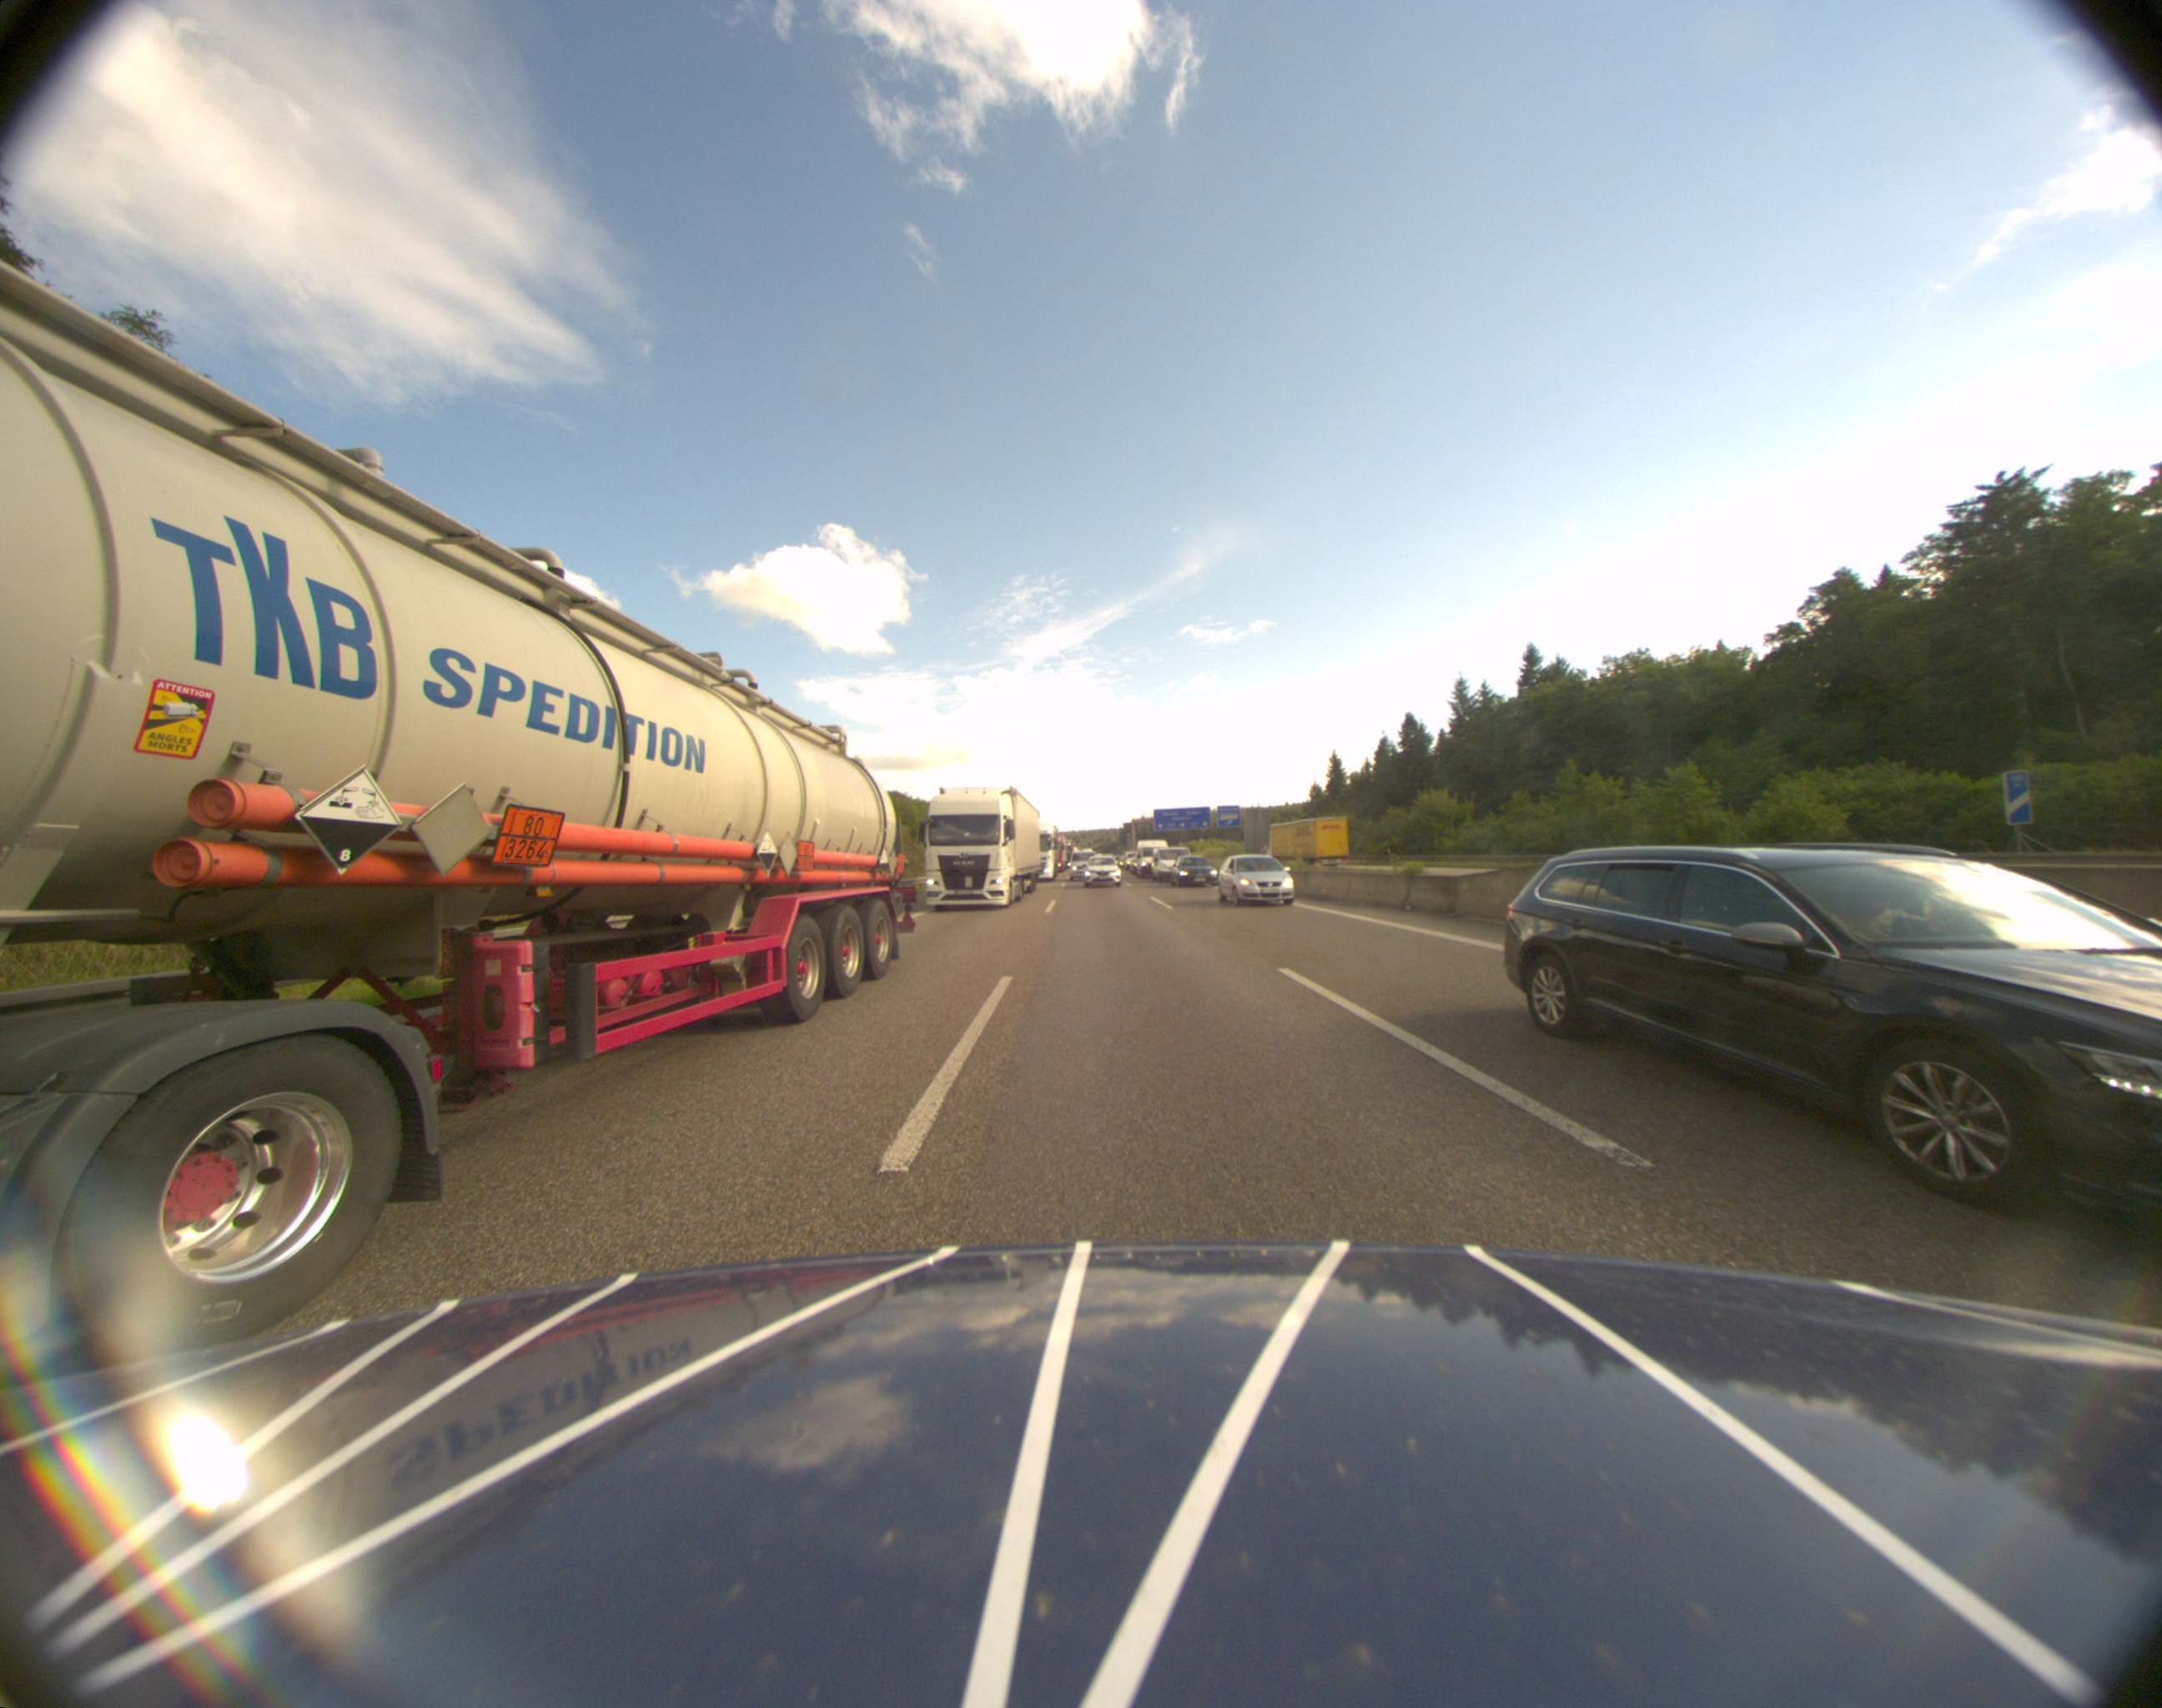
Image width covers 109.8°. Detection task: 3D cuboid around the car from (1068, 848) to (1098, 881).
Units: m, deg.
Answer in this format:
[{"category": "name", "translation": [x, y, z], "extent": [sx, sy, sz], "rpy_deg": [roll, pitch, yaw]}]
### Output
[{"category": "car", "translation": [0.142, 0.646, 50.762], "extent": [1.809, 2.052, 4.769], "rpy_deg": [-2, 0, 0]}]

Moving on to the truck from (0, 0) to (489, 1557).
[{"category": "truck", "translation": [-4.102, -0.260, 0.352], "extent": [2.810, 4.020, 5.903], "rpy_deg": [-2, 0, 1]}]

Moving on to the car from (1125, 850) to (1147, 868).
[{"category": "car", "translation": [5.657, 0.481, 78.795], "extent": [1.920, 1.785, 3.811], "rpy_deg": [-2, 0, 0]}]

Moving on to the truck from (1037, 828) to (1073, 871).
[{"category": "truck", "translation": [-2.680, -0.546, 82.593], "extent": [2.841, 4.178, 12.045], "rpy_deg": [-2, 1, 2]}]

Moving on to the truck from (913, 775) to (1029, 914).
[{"category": "truck", "translation": [-3.455, -0.281, 25.411], "extent": [2.841, 4.048, 5.707], "rpy_deg": [-2, 0, 1]}]

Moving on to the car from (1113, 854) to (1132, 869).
[{"category": "car", "translation": [4.773, 0.846, 88.326], "extent": [1.920, 1.535, 3.811], "rpy_deg": [-2, 0, 0]}]

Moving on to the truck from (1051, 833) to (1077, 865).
[{"category": "truck", "translation": [-2.259, -0.696, 107.304], "extent": [2.841, 4.178, 12.045], "rpy_deg": [-2, 1, 2]}]

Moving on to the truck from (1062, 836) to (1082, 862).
[{"category": "truck", "translation": [-1.583, -0.940, 135.074], "extent": [2.841, 4.178, 12.045], "rpy_deg": [-2, 1, 2]}]

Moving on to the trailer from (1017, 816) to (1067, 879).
[{"category": "trailer", "translation": [-2.750, -0.434, 58.178], "extent": [2.841, 4.177, 13.612], "rpy_deg": [-2, 0, 1]}]

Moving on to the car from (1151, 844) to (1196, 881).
[{"category": "car", "translation": [5.286, 0.480, 43.916], "extent": [1.947, 1.953, 4.847], "rpy_deg": [-2, 0, 0]}]

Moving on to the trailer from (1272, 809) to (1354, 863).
[{"category": "trailer", "translation": [19.950, -1.497, 66.525], "extent": [2.841, 4.178, 13.560], "rpy_deg": [-2, 1, 0]}]

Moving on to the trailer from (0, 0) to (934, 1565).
[{"category": "trailer", "translation": [-3.983, -0.267, 6.928], "extent": [2.805, 4.003, 11.182], "rpy_deg": [-2, 0, 1]}]

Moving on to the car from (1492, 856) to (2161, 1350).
[{"category": "car", "translation": [4.411, 0.790, 4.204], "extent": [1.915, 1.469, 4.569], "rpy_deg": [-2, 0, 2]}]

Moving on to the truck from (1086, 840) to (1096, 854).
[{"category": "truck", "translation": [3.184, -2.290, 234.448], "extent": [2.841, 4.178, 12.045], "rpy_deg": [-2, 1, 2]}]

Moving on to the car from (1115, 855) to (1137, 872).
[{"category": "car", "translation": [4.146, 0.870, 70.065], "extent": [1.809, 1.423, 3.660], "rpy_deg": [-2, 0, 0]}]

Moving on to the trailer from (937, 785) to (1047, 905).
[{"category": "trailer", "translation": [-3.337, -0.335, 32.718], "extent": [2.833, 4.047, 13.371], "rpy_deg": [-2, 0, 1]}]

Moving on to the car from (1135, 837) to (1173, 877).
[{"category": "car", "translation": [4.889, 0.164, 51.780], "extent": [2.054, 2.557, 5.861], "rpy_deg": [-1, 0, 0]}]

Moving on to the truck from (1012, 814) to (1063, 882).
[{"category": "truck", "translation": [-2.825, -0.406, 50.834], "extent": [2.841, 4.177, 5.707], "rpy_deg": [-2, 0, 1]}]

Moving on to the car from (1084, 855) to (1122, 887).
[{"category": "car", "translation": [1.083, 0.829, 39.203], "extent": [1.809, 1.487, 4.666], "rpy_deg": [-2, 0, 0]}]

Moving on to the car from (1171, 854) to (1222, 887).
[{"category": "car", "translation": [5.407, 0.737, 36.000], "extent": [1.809, 1.423, 3.993], "rpy_deg": [-2, 0, 0]}]

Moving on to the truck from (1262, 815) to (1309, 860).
[{"category": "truck", "translation": [19.932, -1.570, 74.292], "extent": [2.841, 4.178, 6.078], "rpy_deg": [-2, 1, 0]}]

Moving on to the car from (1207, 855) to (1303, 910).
[{"category": "car", "translation": [5.144, 0.775, 23.076], "extent": [1.809, 1.423, 4.666], "rpy_deg": [-2, 0, 0]}]
